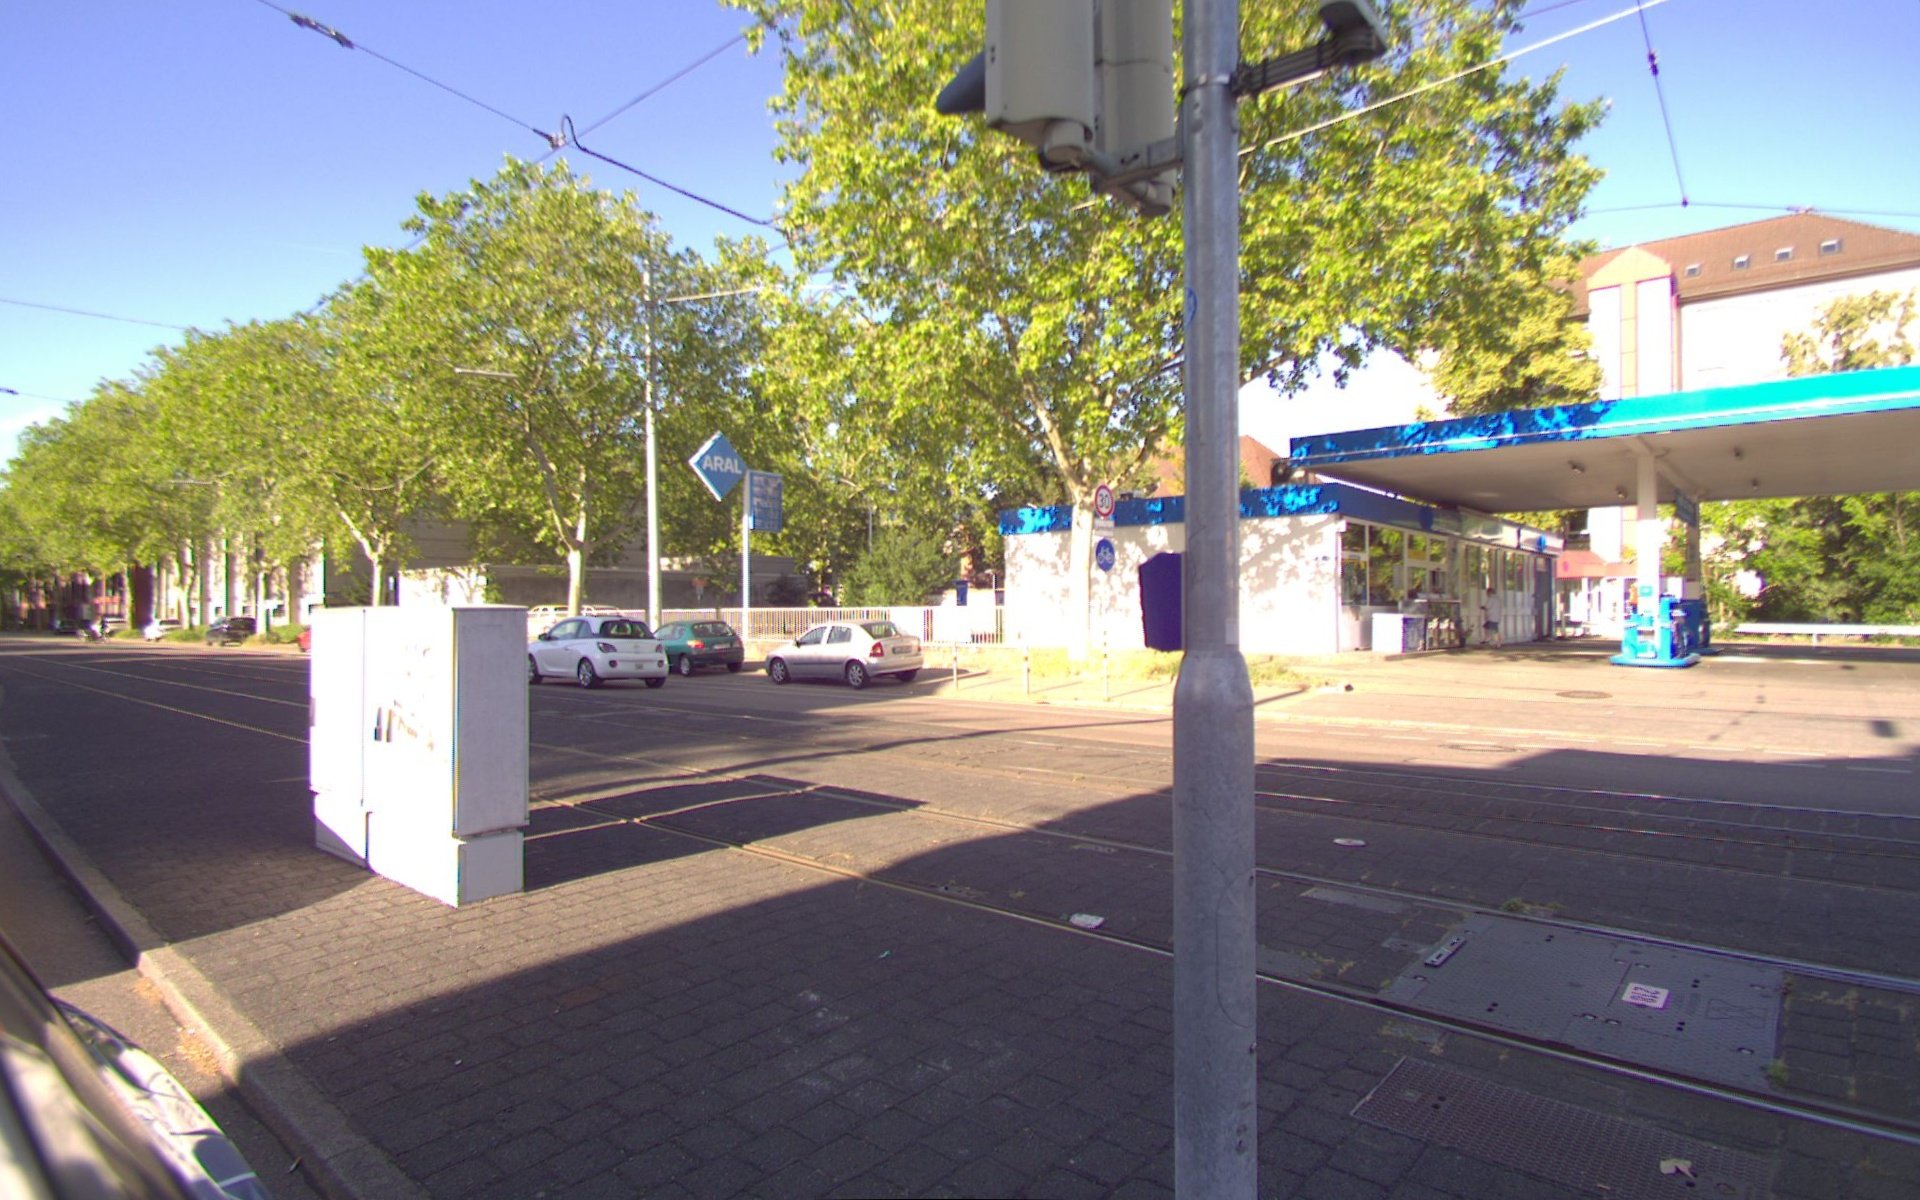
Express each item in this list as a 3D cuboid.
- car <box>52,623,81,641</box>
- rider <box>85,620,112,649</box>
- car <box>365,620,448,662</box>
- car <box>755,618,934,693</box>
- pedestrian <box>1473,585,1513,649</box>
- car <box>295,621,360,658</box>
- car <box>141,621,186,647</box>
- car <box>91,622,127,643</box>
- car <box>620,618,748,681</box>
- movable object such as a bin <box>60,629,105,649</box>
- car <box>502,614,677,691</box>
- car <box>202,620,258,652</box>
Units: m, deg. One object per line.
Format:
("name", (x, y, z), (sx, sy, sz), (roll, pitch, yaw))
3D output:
("car", (-85.040, 3.020, 96.315), (3.731, 1.471, 1.639), (-1, 2, 43))
("rider", (-50.486, 2.038, 59.299), (1.095, 1.660, 0.723), (-1, 0, 13))
("car", (-21.856, 1.570, 39.905), (3.769, 1.455, 1.701), (-1, 2, 43))
("car", (-2.629, 1.189, 22.587), (3.987, 1.376, 1.666), (-2, 3, 41))
("pedestrian", (14.589, 0.468, 27.710), (0.847, 1.715, 0.640), (-1, -3, 40))
("car", (-28.779, 1.755, 45.991), (3.377, 1.506, 1.639), (-1, 2, 43))
("car", (-53.703, 2.291, 68.230), (3.878, 1.552, 1.731), (-1, 2, 43))
("car", (-66.791, 2.508, 79.397), (3.731, 1.471, 1.639), (-1, 2, 43))
("car", (-7.418, 1.264, 27.023), (3.606, 1.455, 1.598), (-1, 2, 43))
("movable object such as a bin", (-51.749, 2.290, 59.656), (1.817, 1.111, 1.174), (-1, 0, 13))
("car", (-7.761, 1.066, 21.056), (3.934, 1.446, 1.719), (-1, -4, 42))
("car", (-40.760, 1.985, 56.484), (3.878, 1.603, 1.731), (-1, 2, 43))
